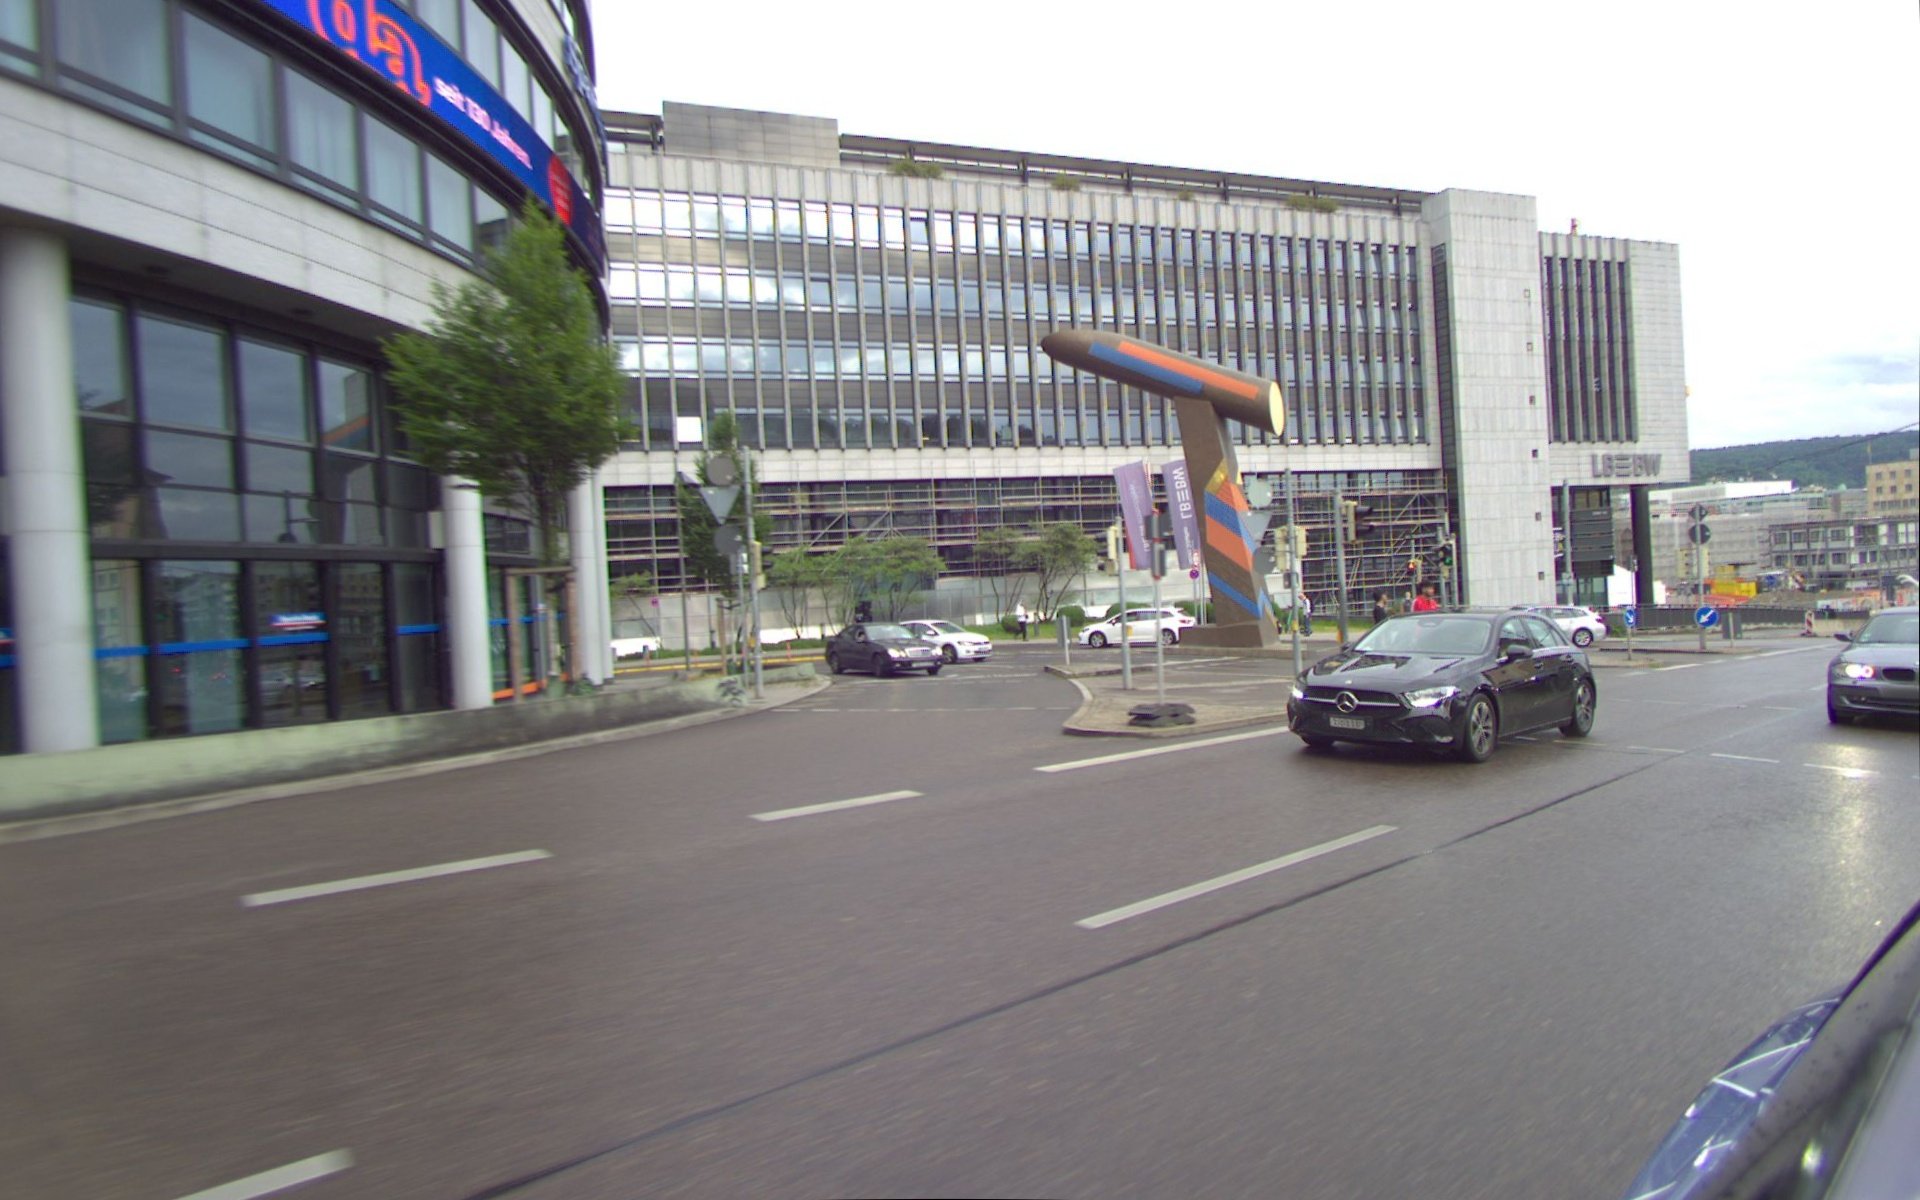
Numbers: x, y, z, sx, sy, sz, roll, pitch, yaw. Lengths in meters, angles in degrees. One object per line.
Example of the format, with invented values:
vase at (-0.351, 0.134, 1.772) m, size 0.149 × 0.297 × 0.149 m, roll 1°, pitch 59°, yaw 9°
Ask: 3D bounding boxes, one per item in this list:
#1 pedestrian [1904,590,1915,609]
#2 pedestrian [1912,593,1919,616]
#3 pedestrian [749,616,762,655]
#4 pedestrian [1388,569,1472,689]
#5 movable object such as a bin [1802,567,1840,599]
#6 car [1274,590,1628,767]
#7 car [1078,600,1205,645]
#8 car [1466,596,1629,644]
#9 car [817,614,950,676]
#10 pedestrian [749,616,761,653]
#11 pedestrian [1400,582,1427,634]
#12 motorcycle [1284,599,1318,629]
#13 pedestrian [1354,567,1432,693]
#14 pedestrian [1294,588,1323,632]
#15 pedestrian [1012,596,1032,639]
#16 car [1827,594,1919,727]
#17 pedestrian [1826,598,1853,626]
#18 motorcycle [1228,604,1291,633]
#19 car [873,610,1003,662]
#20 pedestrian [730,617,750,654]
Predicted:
pedestrian at (92.642, -0.055, 98.771) m, size 0.485 × 1.770 × 0.569 m, roll -2°, pitch 0°, yaw -21°
pedestrian at (70.089, 0.342, 73.580) m, size 0.933 × 1.613 × 0.865 m, roll -3°, pitch 0°, yaw -12°
pedestrian at (-9.555, 1.655, 47.268) m, size 0.541 × 1.769 × 0.563 m, roll 0°, pitch -2°, yaw -13°
pedestrian at (7.866, 0.471, 16.974) m, size 0.843 × 1.928 × 0.845 m, roll -2°, pitch 0°, yaw -14°
movable object such as a bin at (95.804, -1.888, 112.601) m, size 4.149 × 3.451 × 1.944 m, roll -3°, pitch 0°, yaw -33°
car at (5.264, 0.672, 10.610) m, size 4.153 × 1.425 × 1.758 m, roll -2°, pitch 0°, yaw -40°
car at (6.942, 0.861, 38.706) m, size 4.528 × 1.655 × 1.763 m, roll -1°, pitch -1°, yaw 23°
car at (20.211, 0.694, 34.954) m, size 4.532 × 1.469 × 1.704 m, roll -2°, pitch -1°, yaw 4°
car at (-2.208, 1.182, 27.831) m, size 1.830 × 1.460 × 4.719 m, roll -3°, pitch 0°, yaw -28°
pedestrian at (-9.683, 1.632, 47.863) m, size 0.541 × 1.769 × 0.563 m, roll 0°, pitch -2°, yaw -13°
pedestrian at (18.756, 0.336, 41.843) m, size 0.846 × 2.126 × 0.896 m, roll -3°, pitch -3°, yaw 27°
motorcycle at (14.838, 0.589, 44.034) m, size 1.240 × 1.287 × 0.610 m, roll 0°, pitch 0°, yaw 43°
pedestrian at (6.925, 0.462, 16.223) m, size 0.717 × 1.928 × 0.845 m, roll -2°, pitch 0°, yaw -14°
pedestrian at (14.343, 0.413, 41.628) m, size 0.829 × 1.732 × 0.731 m, roll -3°, pitch 0°, yaw -40°
pedestrian at (2.748, 0.774, 44.799) m, size 0.766 × 1.840 × 0.971 m, roll -2°, pitch 0°, yaw 1°
car at (12.137, 0.650, 12.394) m, size 3.930 × 1.461 × 1.742 m, roll 0°, pitch -1°, yaw -41°
pedestrian at (53.881, 0.709, 61.975) m, size 1.039 × 1.673 × 0.733 m, roll -2°, pitch 0°, yaw -12°
motorcycle at (12.826, 0.769, 43.351) m, size 2.564 × 1.094 × 0.625 m, roll 3°, pitch 2°, yaw 43°
car at (-0.767, 1.200, 33.225) m, size 3.981 × 1.459 × 1.841 m, roll -3°, pitch 1°, yaw 40°
pedestrian at (-10.578, 1.703, 48.654) m, size 0.885 × 1.769 × 0.946 m, roll 0°, pitch -2°, yaw -13°
